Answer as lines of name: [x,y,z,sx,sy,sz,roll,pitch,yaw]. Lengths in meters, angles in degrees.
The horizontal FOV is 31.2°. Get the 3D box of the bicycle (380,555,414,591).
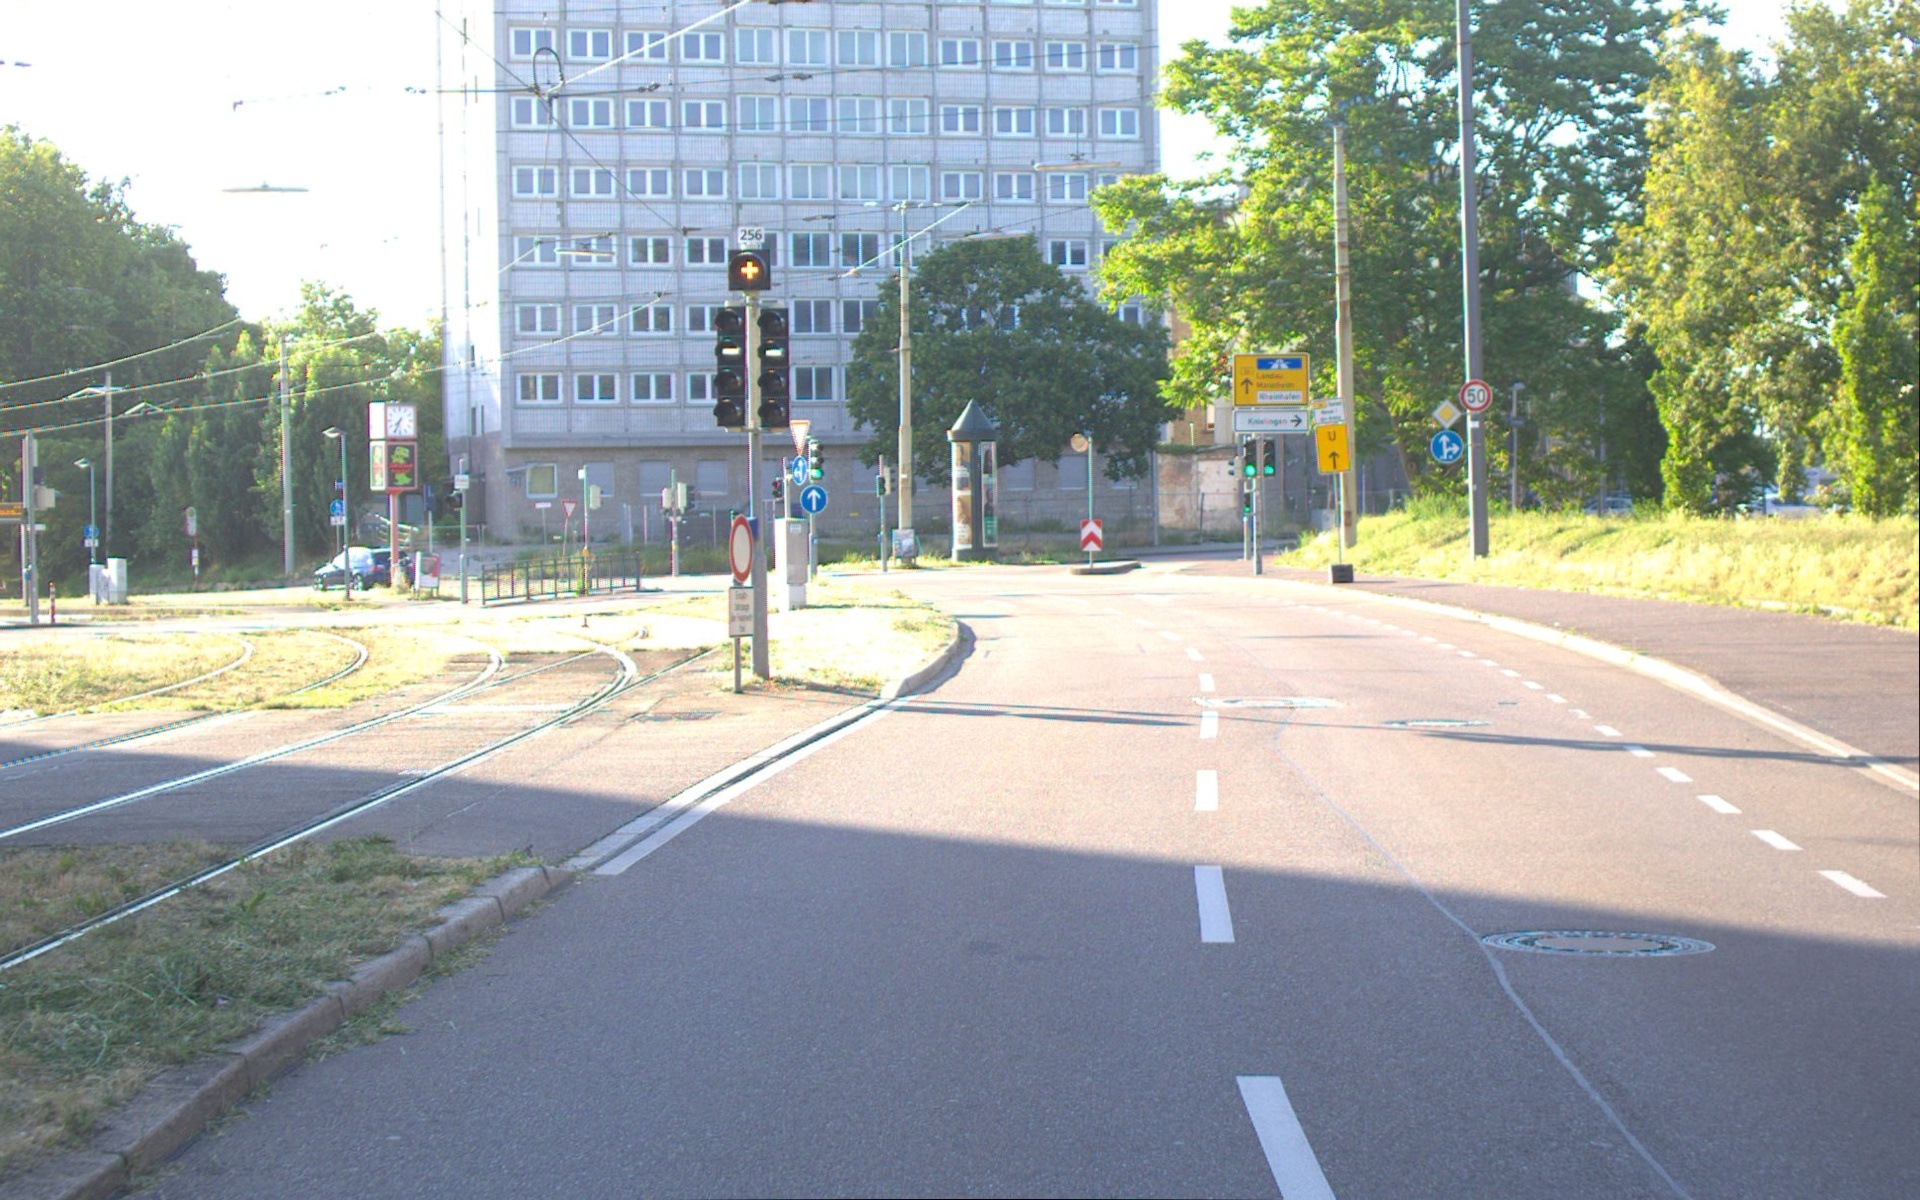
bicycle: [-15.663,-0.761,95.654,0.553,0.914,1.743,-3,2,2]

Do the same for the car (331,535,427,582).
car: [-18.536,-1.309,109.604,1.772,1.417,3.856,-2,2,-29]
